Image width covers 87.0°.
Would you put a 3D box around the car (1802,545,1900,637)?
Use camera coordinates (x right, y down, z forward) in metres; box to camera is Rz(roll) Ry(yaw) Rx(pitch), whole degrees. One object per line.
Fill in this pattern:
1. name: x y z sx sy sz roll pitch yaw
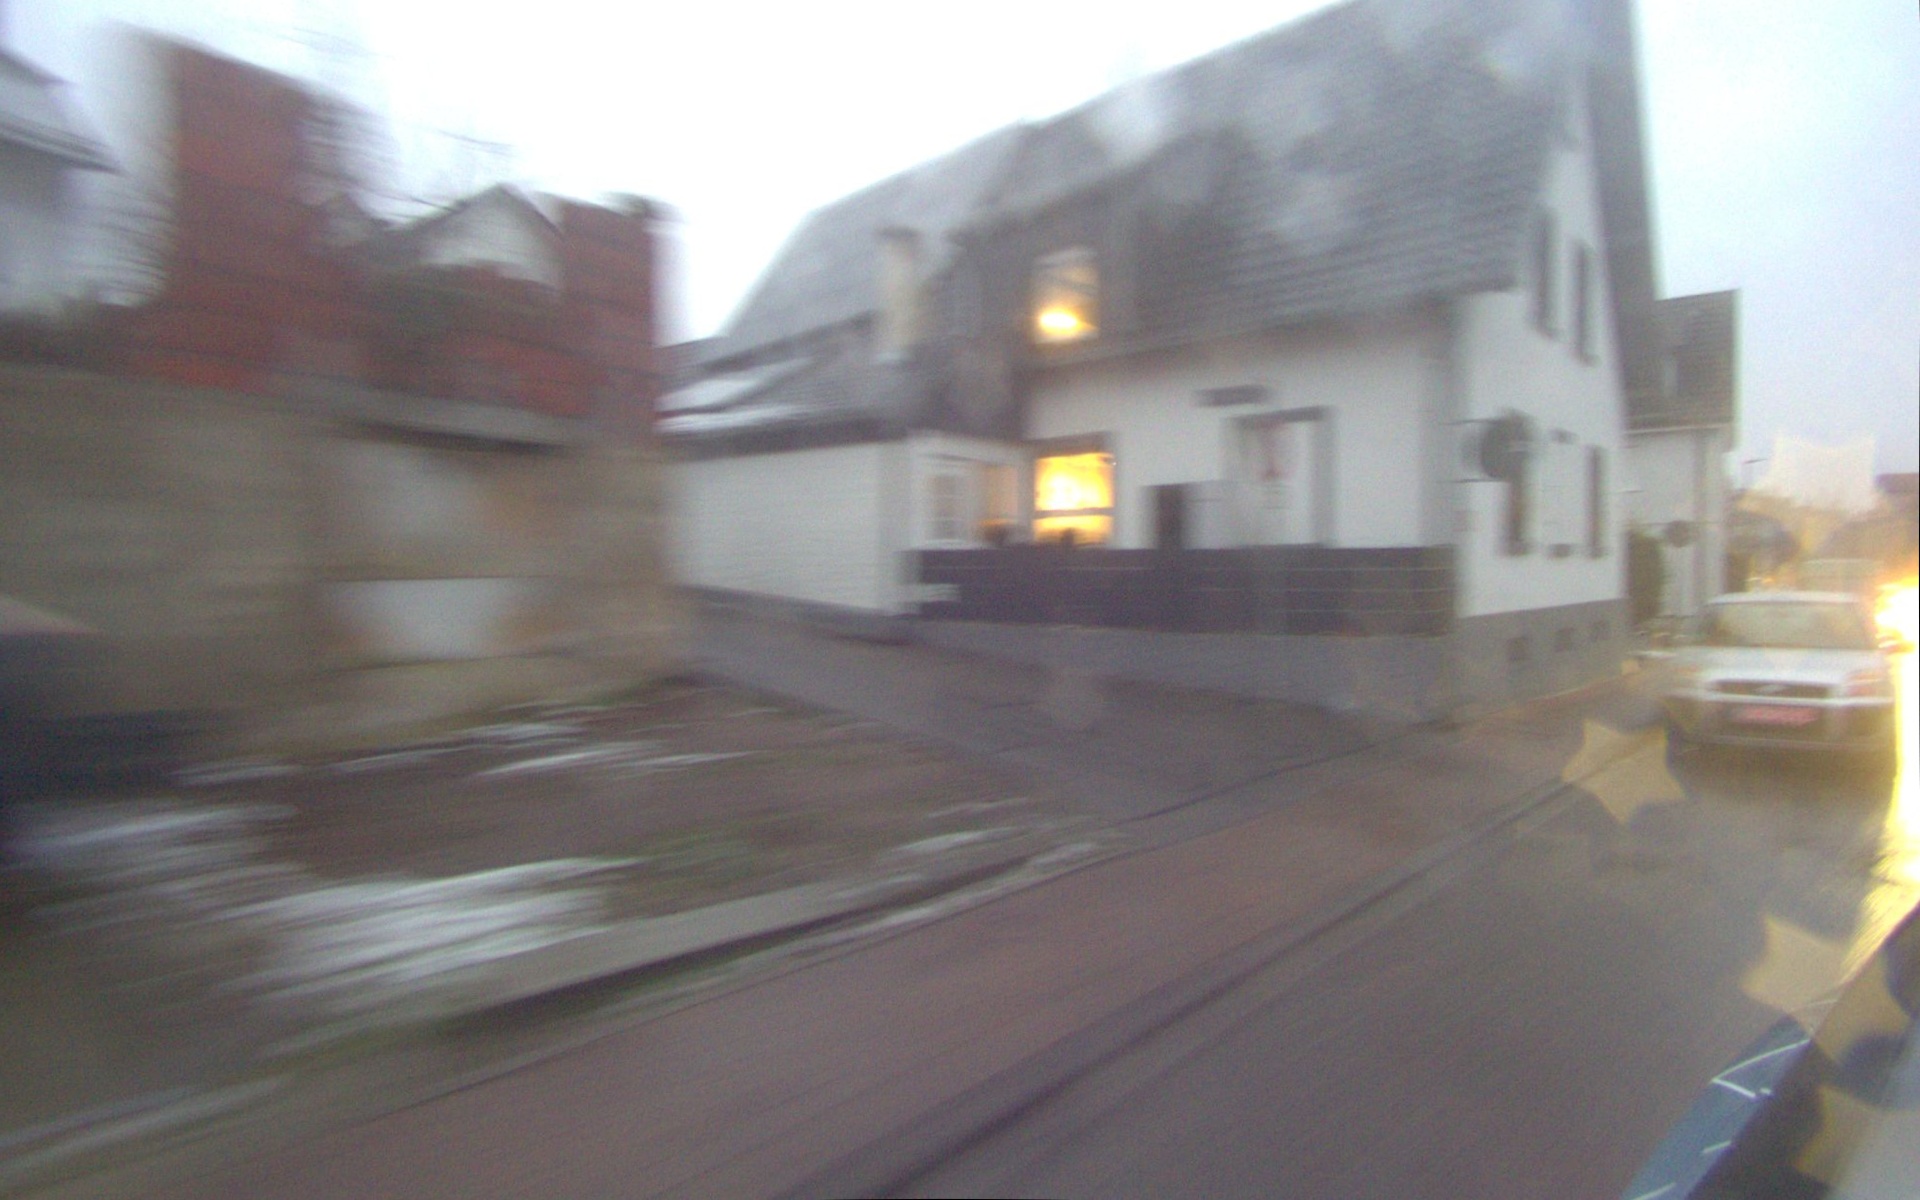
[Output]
1. car: 26.603 -0.278 30.301 2.007 2.485 5.532 -1 0 41

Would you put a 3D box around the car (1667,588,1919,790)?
1. car: 8.013 0.665 9.677 1.636 1.513 3.941 -1 0 41

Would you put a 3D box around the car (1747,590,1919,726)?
1. car: 11.654 0.641 13.279 1.638 1.490 3.936 -1 0 45

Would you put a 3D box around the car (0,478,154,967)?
1. car: -4.523 0.399 2.009 1.796 1.505 4.238 3 4 28

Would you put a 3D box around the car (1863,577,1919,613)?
1. car: 43.421 -0.269 46.824 1.980 1.577 4.181 0 1 36

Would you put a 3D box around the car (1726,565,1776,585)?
1. car: 77.066 -2.387 98.732 1.824 1.907 4.869 0 1 11
